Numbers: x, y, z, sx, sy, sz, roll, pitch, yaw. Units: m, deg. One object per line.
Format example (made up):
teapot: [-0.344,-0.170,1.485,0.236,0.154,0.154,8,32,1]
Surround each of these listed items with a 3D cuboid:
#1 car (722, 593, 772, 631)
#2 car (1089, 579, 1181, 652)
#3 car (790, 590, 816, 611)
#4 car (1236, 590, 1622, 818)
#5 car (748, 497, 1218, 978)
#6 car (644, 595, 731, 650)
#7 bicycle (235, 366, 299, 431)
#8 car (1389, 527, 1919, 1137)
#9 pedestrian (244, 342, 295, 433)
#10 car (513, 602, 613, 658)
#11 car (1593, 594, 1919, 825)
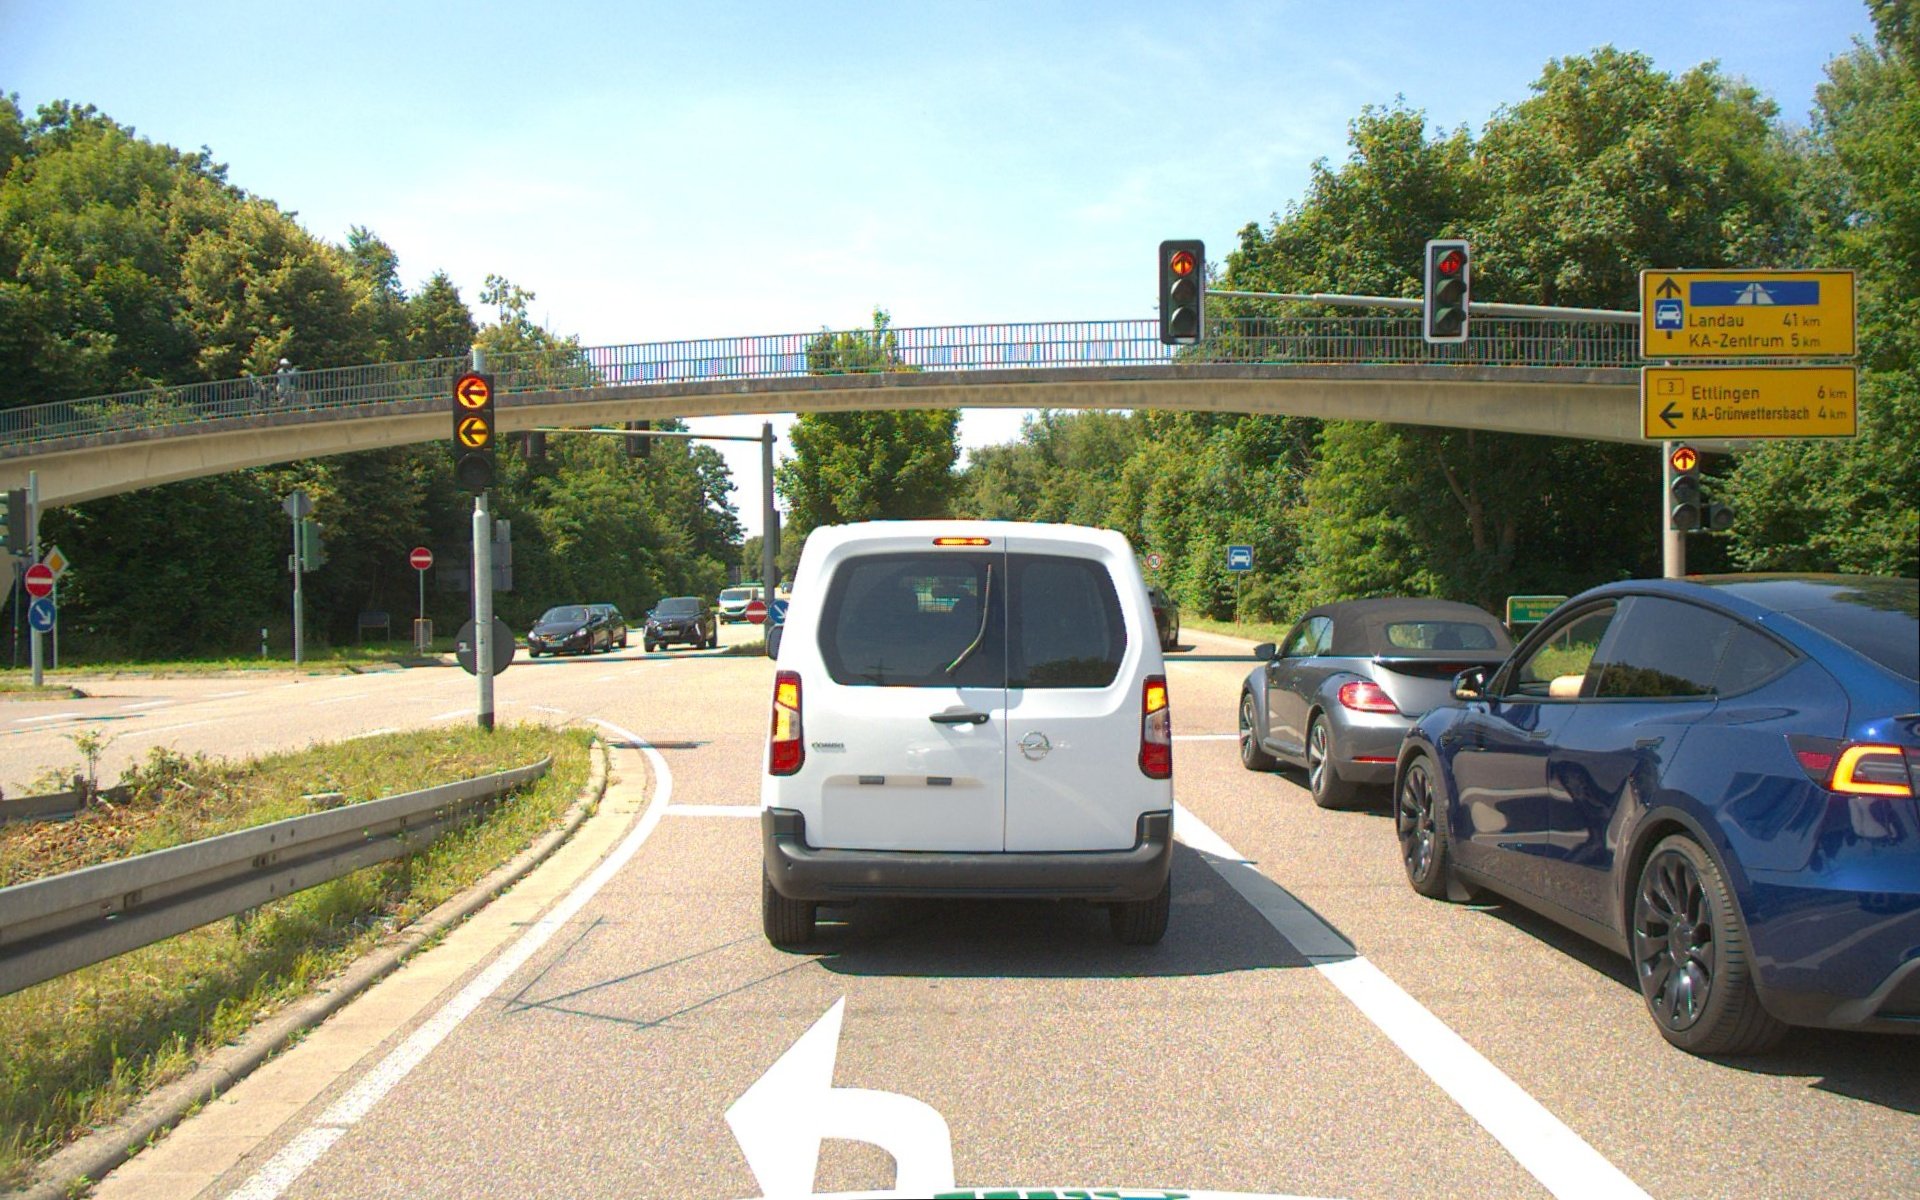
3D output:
car: [-11.992,0.641,93.427,2.163,2.028,5.487,-2,0,-1]
car: [4.706,0.370,43.852,1.998,1.728,5.091,-3,0,10]
car: [-15.822,0.044,167.098,2.163,2.028,4.733,-2,0,-1]
car: [3.466,0.684,13.028,1.862,1.503,3.938,1,0,-1]
car: [0.035,0.509,8.436,1.812,1.857,3.980,1,1,-2]
car: [-8.050,0.624,49.166,1.953,1.550,4.027,1,0,-1]
bicycle: [-17.734,-5.143,42.323,1.494,1.500,0.470,-3,-2,15]
car: [3.329,0.635,6.823,1.862,1.673,4.519,1,0,-1]
pedestrian: [-17.773,-5.466,42.598,0.765,2.177,0.932,-3,-2,15]
car: [-11.629,0.861,48.695,1.967,1.486,4.054,-2,0,-1]
car: [6.832,0.728,13.135,1.862,1.503,4.379,1,0,-1]
